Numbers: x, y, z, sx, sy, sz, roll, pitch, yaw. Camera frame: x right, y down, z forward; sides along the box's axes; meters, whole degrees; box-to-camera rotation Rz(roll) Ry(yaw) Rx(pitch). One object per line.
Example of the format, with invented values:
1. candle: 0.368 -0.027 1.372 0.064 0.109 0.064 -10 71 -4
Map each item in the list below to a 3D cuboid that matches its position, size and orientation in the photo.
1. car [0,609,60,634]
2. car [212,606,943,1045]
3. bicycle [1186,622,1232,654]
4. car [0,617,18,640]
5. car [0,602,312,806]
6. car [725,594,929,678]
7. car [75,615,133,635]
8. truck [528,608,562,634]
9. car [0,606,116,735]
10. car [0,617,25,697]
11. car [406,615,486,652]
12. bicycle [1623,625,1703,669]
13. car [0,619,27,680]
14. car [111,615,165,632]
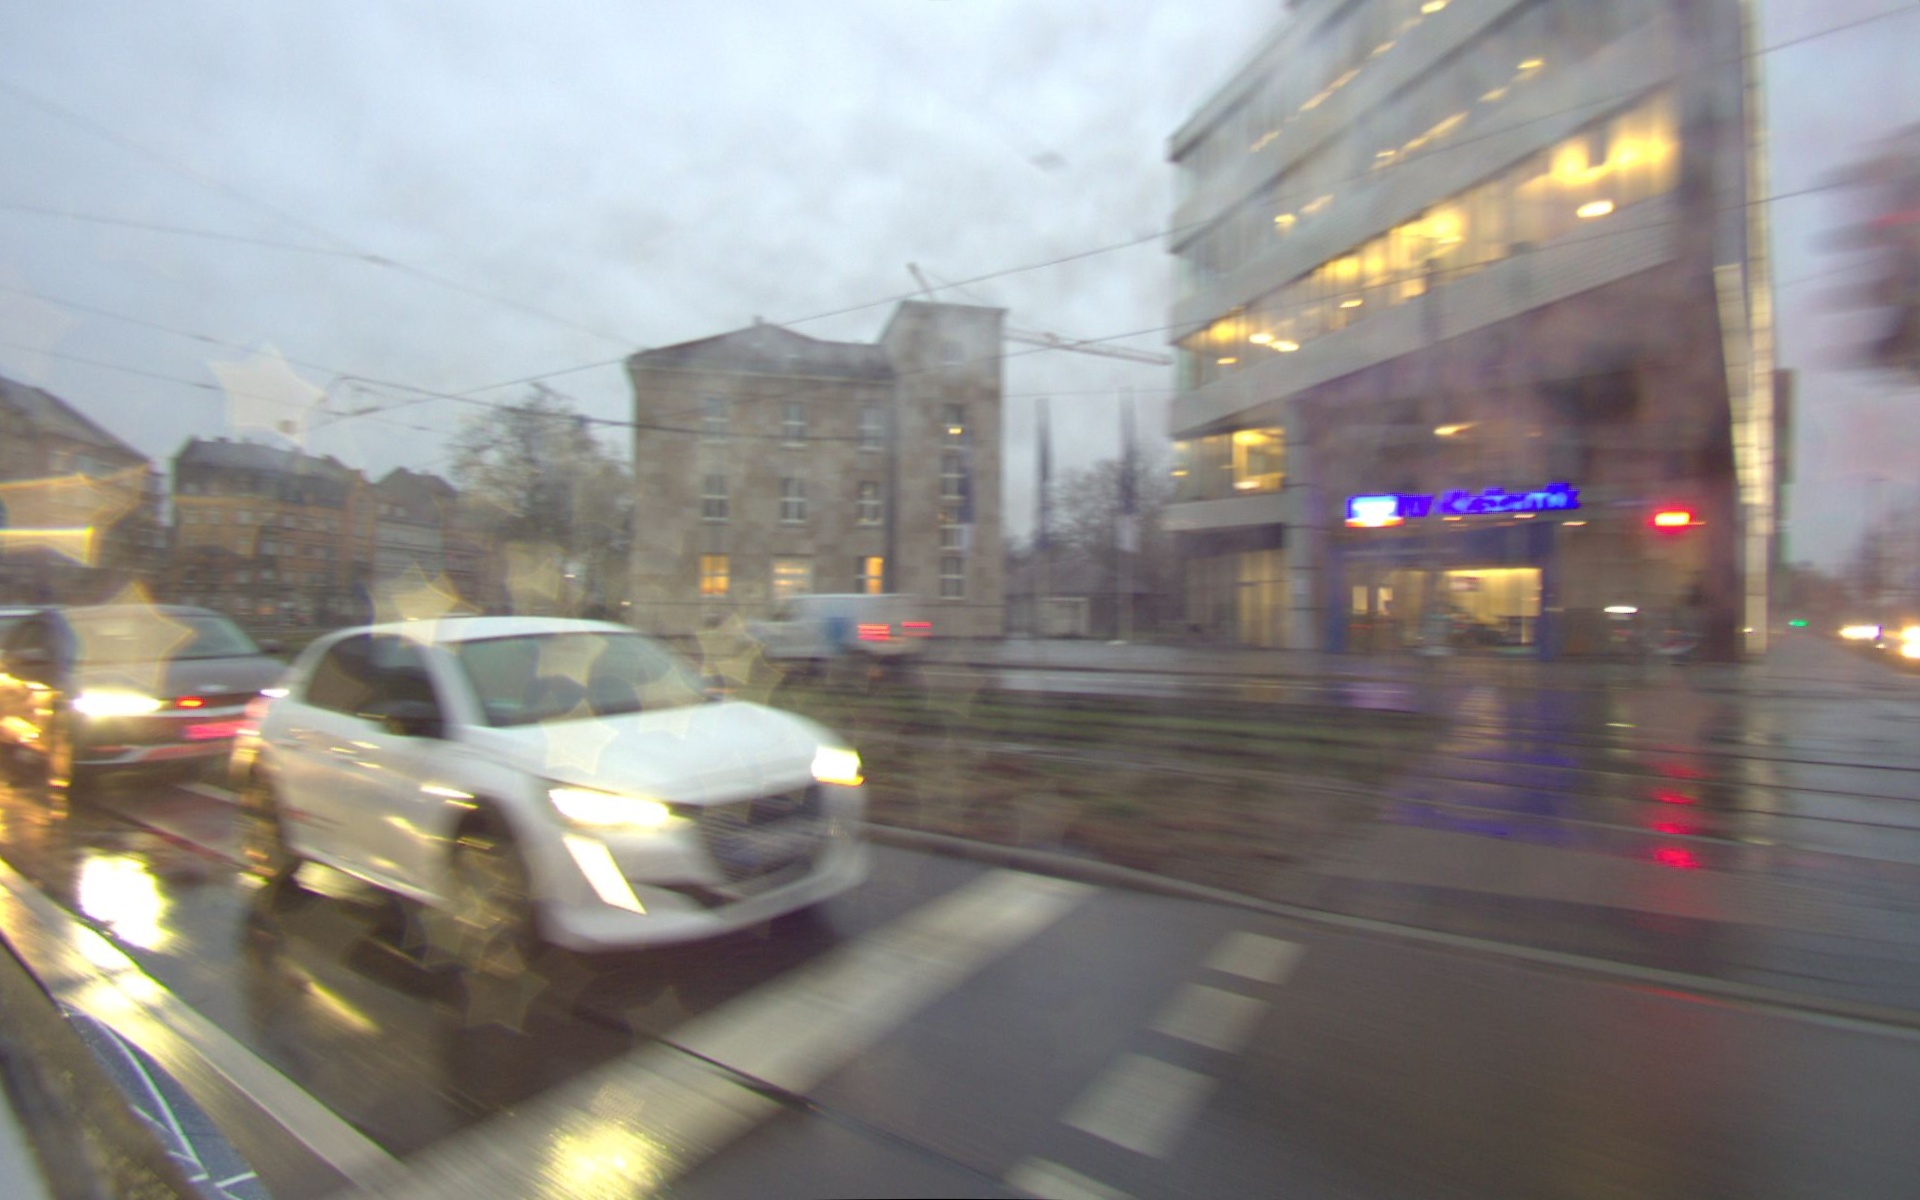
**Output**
1. car: -60.711 1.409 65.780 3.134 1.636 1.431 1 -2 -37
2. car: -2.159 0.788 5.285 3.910 1.475 1.742 -1 -1 36
3. bicycle: 8.861 1.344 36.040 1.473 1.136 0.530 1 -2 -12
4. car: -60.535 1.778 62.612 3.134 1.440 1.431 1 -2 -37
5. car: -8.173 0.851 9.958 4.358 1.582 1.802 -1 -2 40
6. car: -3.323 0.866 24.907 4.947 1.886 1.884 -1 -2 33
7. car: -62.784 1.831 74.271 3.134 1.424 1.385 1 -2 -35
8. truck: -33.557 1.738 81.933 1.808 2.060 4.010 0 -1 -12
9. car: -13.438 0.915 14.268 4.220 1.611 1.654 -1 -2 40
10. car: -18.934 1.050 19.062 3.346 1.441 1.667 -1 -1 42
11. car: -20.111 1.282 39.527 1.620 1.397 4.481 2 -2 -43
12. bicycle: 18.022 1.194 25.953 1.600 1.078 0.634 -2 -3 41
13. car: -25.308 1.251 25.682 1.846 1.486 4.181 0 -2 -35
14. car: -63.488 1.853 78.192 3.134 1.293 1.385 1 -2 -35
